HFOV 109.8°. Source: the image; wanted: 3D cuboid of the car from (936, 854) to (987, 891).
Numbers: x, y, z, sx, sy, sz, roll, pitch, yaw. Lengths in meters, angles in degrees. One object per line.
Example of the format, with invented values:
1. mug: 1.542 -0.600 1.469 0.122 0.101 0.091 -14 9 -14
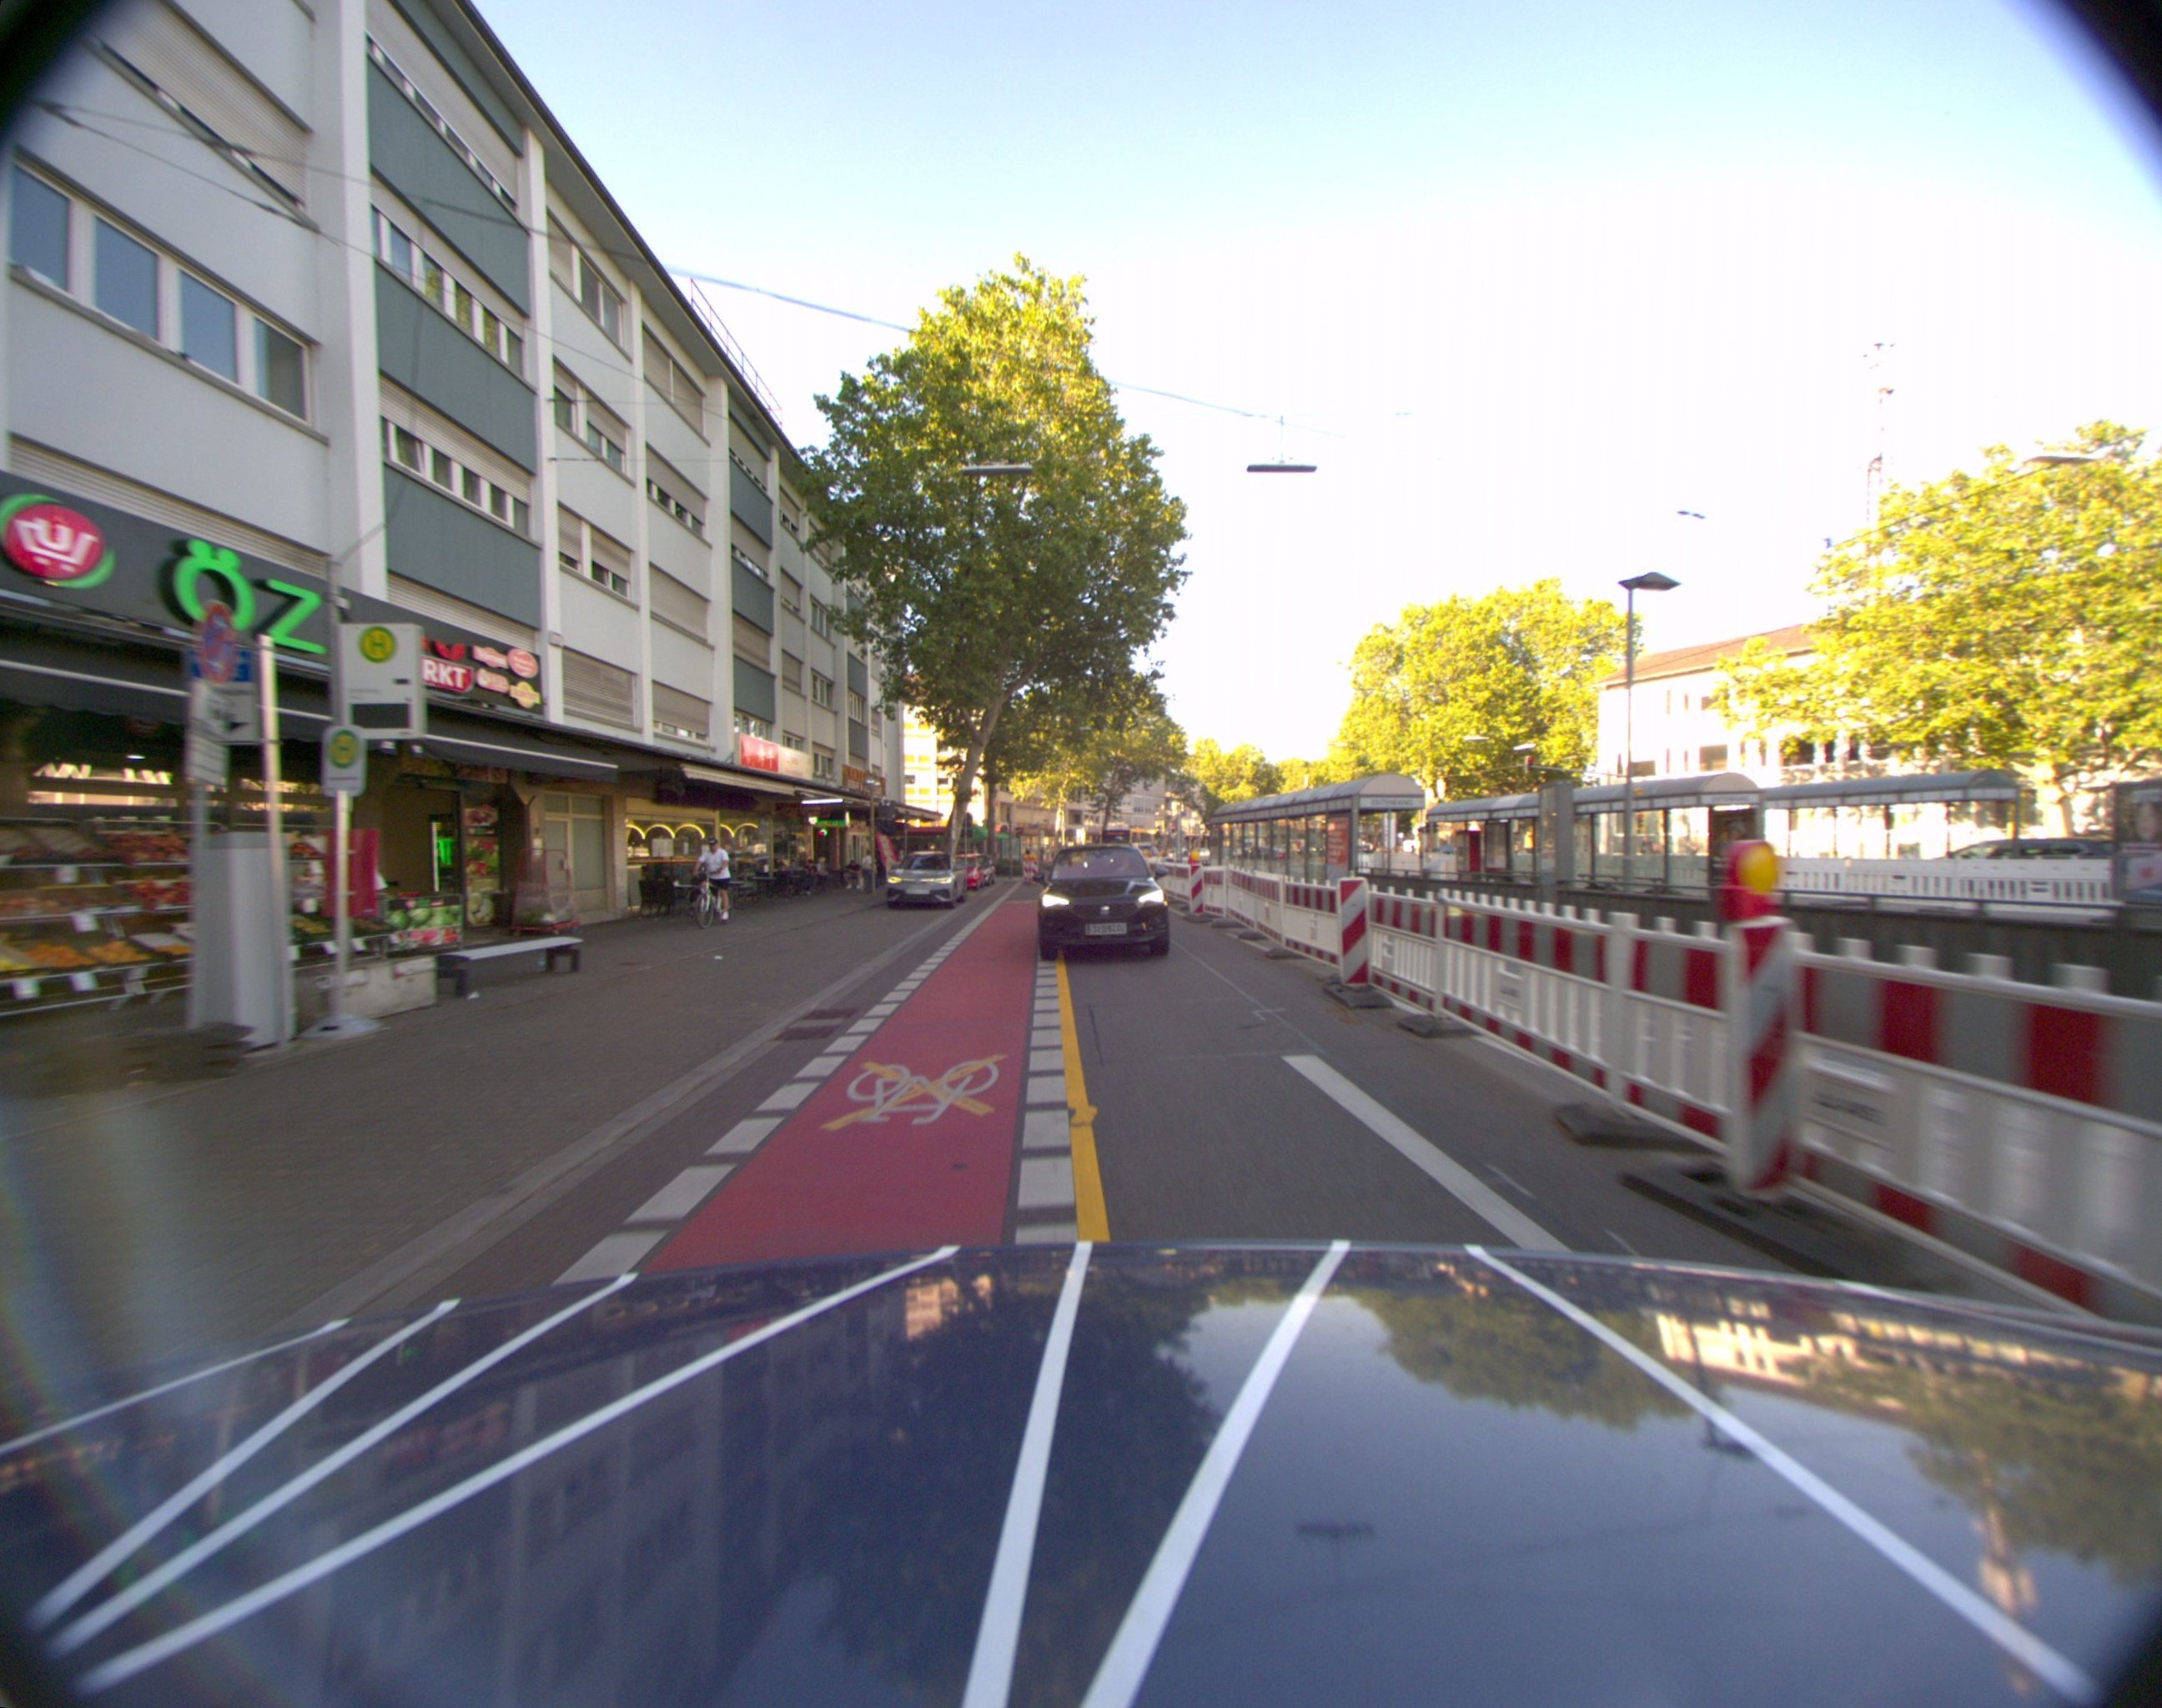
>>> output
1. car: -5.036 0.760 32.443 1.735 1.434 3.982 0 1 -3

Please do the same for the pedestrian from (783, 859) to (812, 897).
1. pedestrian: -9.482 0.800 25.412 0.677 1.220 0.710 0 1 2

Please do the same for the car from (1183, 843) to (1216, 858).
1. car: 13.807 -0.439 88.453 1.994 1.587 4.570 0 2 35

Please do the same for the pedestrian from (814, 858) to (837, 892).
1. pedestrian: -9.511 0.770 28.313 0.646 1.258 0.606 0 1 -1

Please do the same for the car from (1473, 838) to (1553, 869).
1. car: 23.048 -0.034 40.641 1.685 1.565 3.384 -1 1 -24

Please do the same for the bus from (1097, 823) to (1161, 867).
1. bus: 4.252 -0.740 63.639 2.735 3.188 12.320 -2 0 15

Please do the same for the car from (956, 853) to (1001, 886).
1. car: -4.918 0.722 36.846 1.659 1.471 3.800 0 1 0

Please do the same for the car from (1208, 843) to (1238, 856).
1. car: 17.813 -0.550 95.071 1.994 1.587 4.570 0 1 35

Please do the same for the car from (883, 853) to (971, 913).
1. car: -4.491 0.786 22.860 1.923 1.588 4.789 0 0 -3

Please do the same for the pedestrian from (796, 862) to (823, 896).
1. pedestrian: -9.414 0.861 26.384 0.677 1.170 0.710 0 1 -1

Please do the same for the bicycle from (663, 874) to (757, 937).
1. bicycle: -7.477 0.999 15.456 0.778 1.097 2.267 1 1 1

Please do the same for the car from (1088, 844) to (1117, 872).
1. car: 1.380 0.223 47.932 1.610 1.618 3.679 -1 1 4

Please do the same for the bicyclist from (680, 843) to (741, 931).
1. bicyclist: -7.468 0.644 15.351 0.771 1.699 0.829 2 1 1

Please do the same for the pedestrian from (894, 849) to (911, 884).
1. pedestrian: -7.893 0.548 33.609 0.584 1.551 0.642 1 1 1

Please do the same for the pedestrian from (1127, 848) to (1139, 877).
1. pedestrian: 2.825 0.472 41.443 0.623 1.551 0.471 -1 1 -1

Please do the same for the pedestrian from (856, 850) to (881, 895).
1. pedestrian: -7.615 0.649 27.296 0.710 1.576 0.678 1 1 -2

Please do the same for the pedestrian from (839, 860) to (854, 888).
1. pedestrian: -9.367 0.798 30.355 0.520 1.127 0.507 0 1 -22

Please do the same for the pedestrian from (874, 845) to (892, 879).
1. pedestrian: -9.958 0.403 38.237 0.710 1.699 0.678 -1 1 -1

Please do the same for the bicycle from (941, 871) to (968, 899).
1. bicycle: -4.505 1.101 27.169 0.625 0.879 2.039 1 1 -1

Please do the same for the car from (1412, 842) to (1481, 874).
1. car: 22.227 0.219 46.338 1.999 1.805 3.997 -1 1 -6

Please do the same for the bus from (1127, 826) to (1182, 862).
1. bus: 7.446 -0.985 74.525 2.734 3.188 12.377 -2 0 17

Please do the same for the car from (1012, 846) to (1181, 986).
1. car: 0.288 0.737 11.309 1.998 1.638 4.204 -2 1 3
